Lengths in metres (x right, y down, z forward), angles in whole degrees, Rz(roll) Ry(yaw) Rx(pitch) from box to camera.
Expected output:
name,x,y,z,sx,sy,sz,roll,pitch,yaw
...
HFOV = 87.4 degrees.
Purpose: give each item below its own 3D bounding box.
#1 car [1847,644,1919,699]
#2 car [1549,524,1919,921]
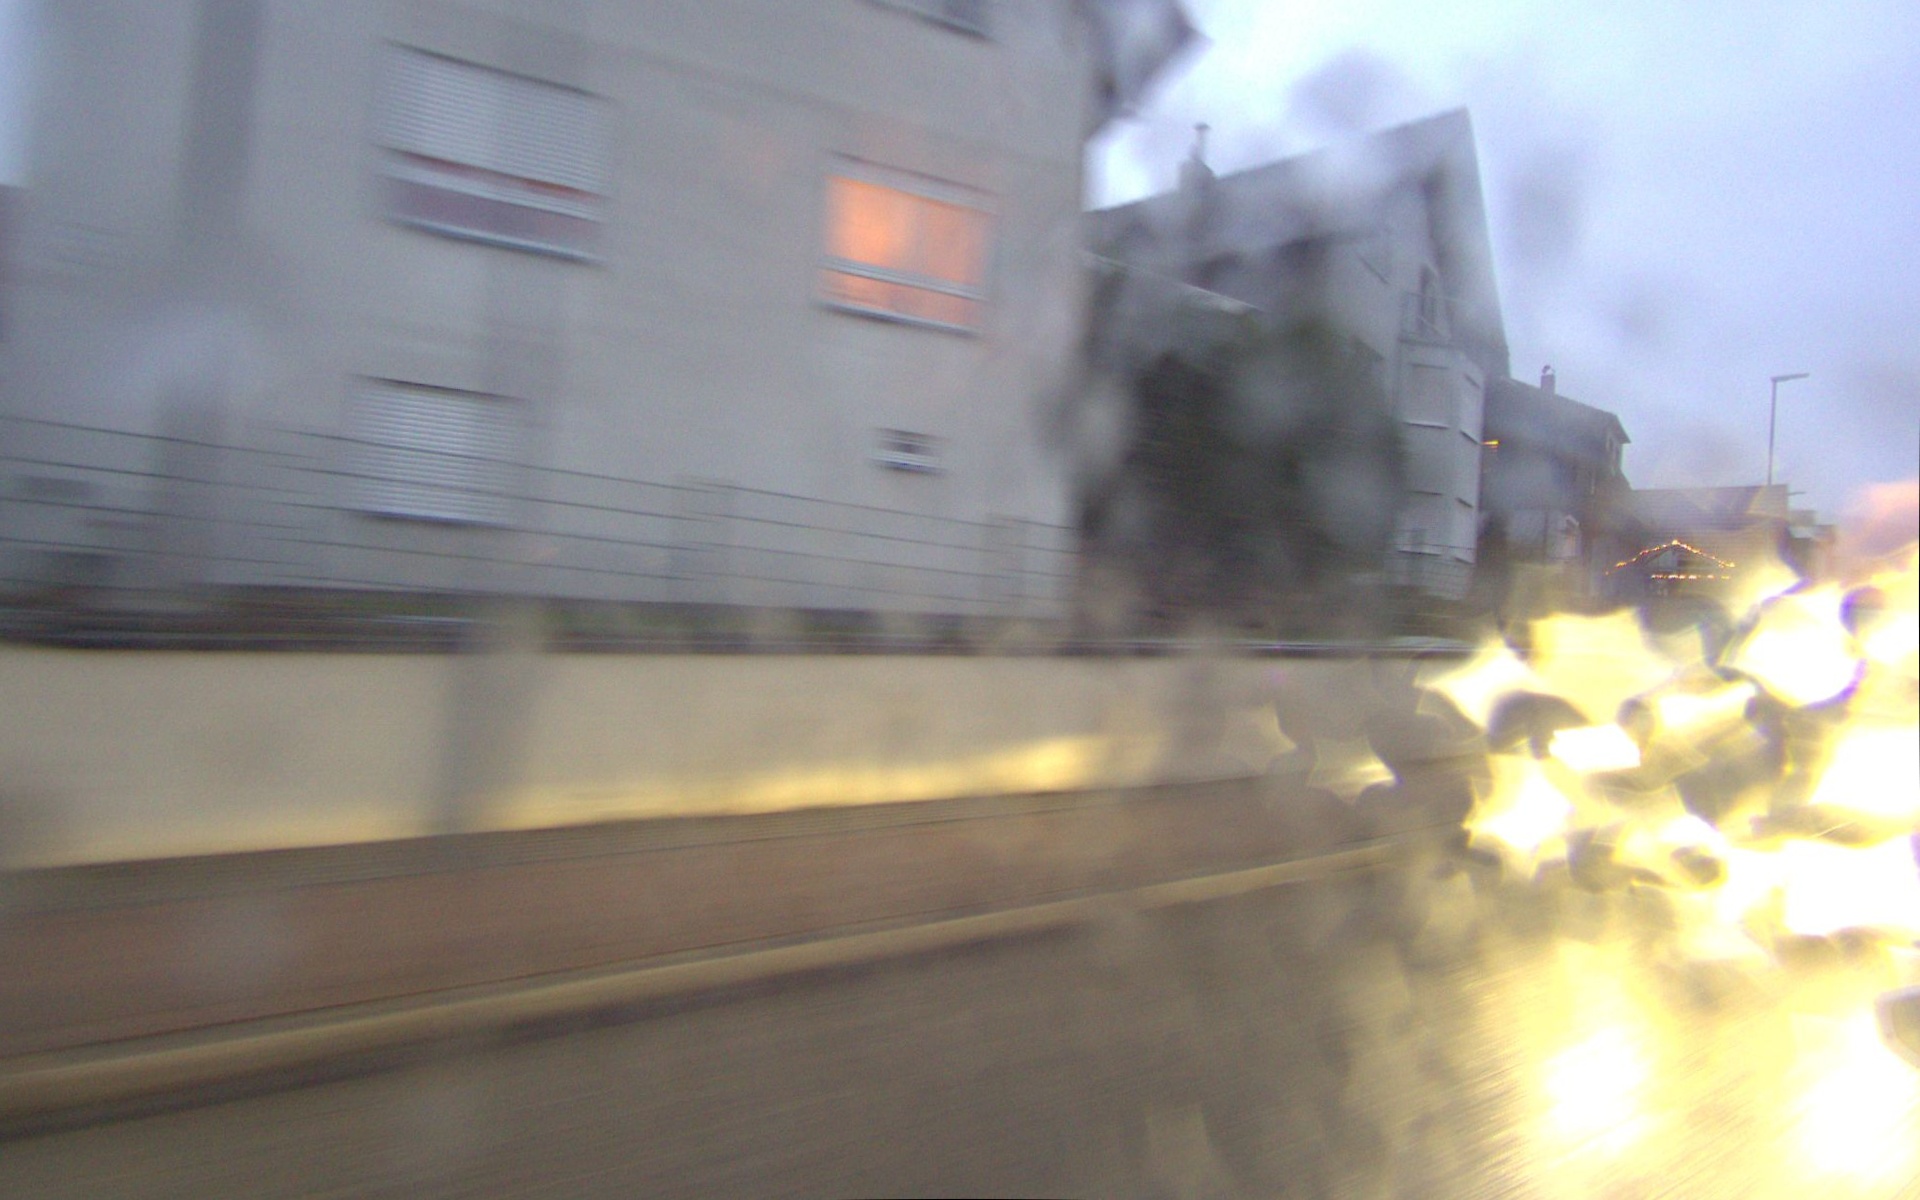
name,x,y,z,sx,sy,sz,roll,pitch,yaw
car,27.286,2.071,29.612,1.601,1.457,3.636,1,-1,43
car,6.242,0.713,7.452,2.088,2.053,4.952,1,-1,44
